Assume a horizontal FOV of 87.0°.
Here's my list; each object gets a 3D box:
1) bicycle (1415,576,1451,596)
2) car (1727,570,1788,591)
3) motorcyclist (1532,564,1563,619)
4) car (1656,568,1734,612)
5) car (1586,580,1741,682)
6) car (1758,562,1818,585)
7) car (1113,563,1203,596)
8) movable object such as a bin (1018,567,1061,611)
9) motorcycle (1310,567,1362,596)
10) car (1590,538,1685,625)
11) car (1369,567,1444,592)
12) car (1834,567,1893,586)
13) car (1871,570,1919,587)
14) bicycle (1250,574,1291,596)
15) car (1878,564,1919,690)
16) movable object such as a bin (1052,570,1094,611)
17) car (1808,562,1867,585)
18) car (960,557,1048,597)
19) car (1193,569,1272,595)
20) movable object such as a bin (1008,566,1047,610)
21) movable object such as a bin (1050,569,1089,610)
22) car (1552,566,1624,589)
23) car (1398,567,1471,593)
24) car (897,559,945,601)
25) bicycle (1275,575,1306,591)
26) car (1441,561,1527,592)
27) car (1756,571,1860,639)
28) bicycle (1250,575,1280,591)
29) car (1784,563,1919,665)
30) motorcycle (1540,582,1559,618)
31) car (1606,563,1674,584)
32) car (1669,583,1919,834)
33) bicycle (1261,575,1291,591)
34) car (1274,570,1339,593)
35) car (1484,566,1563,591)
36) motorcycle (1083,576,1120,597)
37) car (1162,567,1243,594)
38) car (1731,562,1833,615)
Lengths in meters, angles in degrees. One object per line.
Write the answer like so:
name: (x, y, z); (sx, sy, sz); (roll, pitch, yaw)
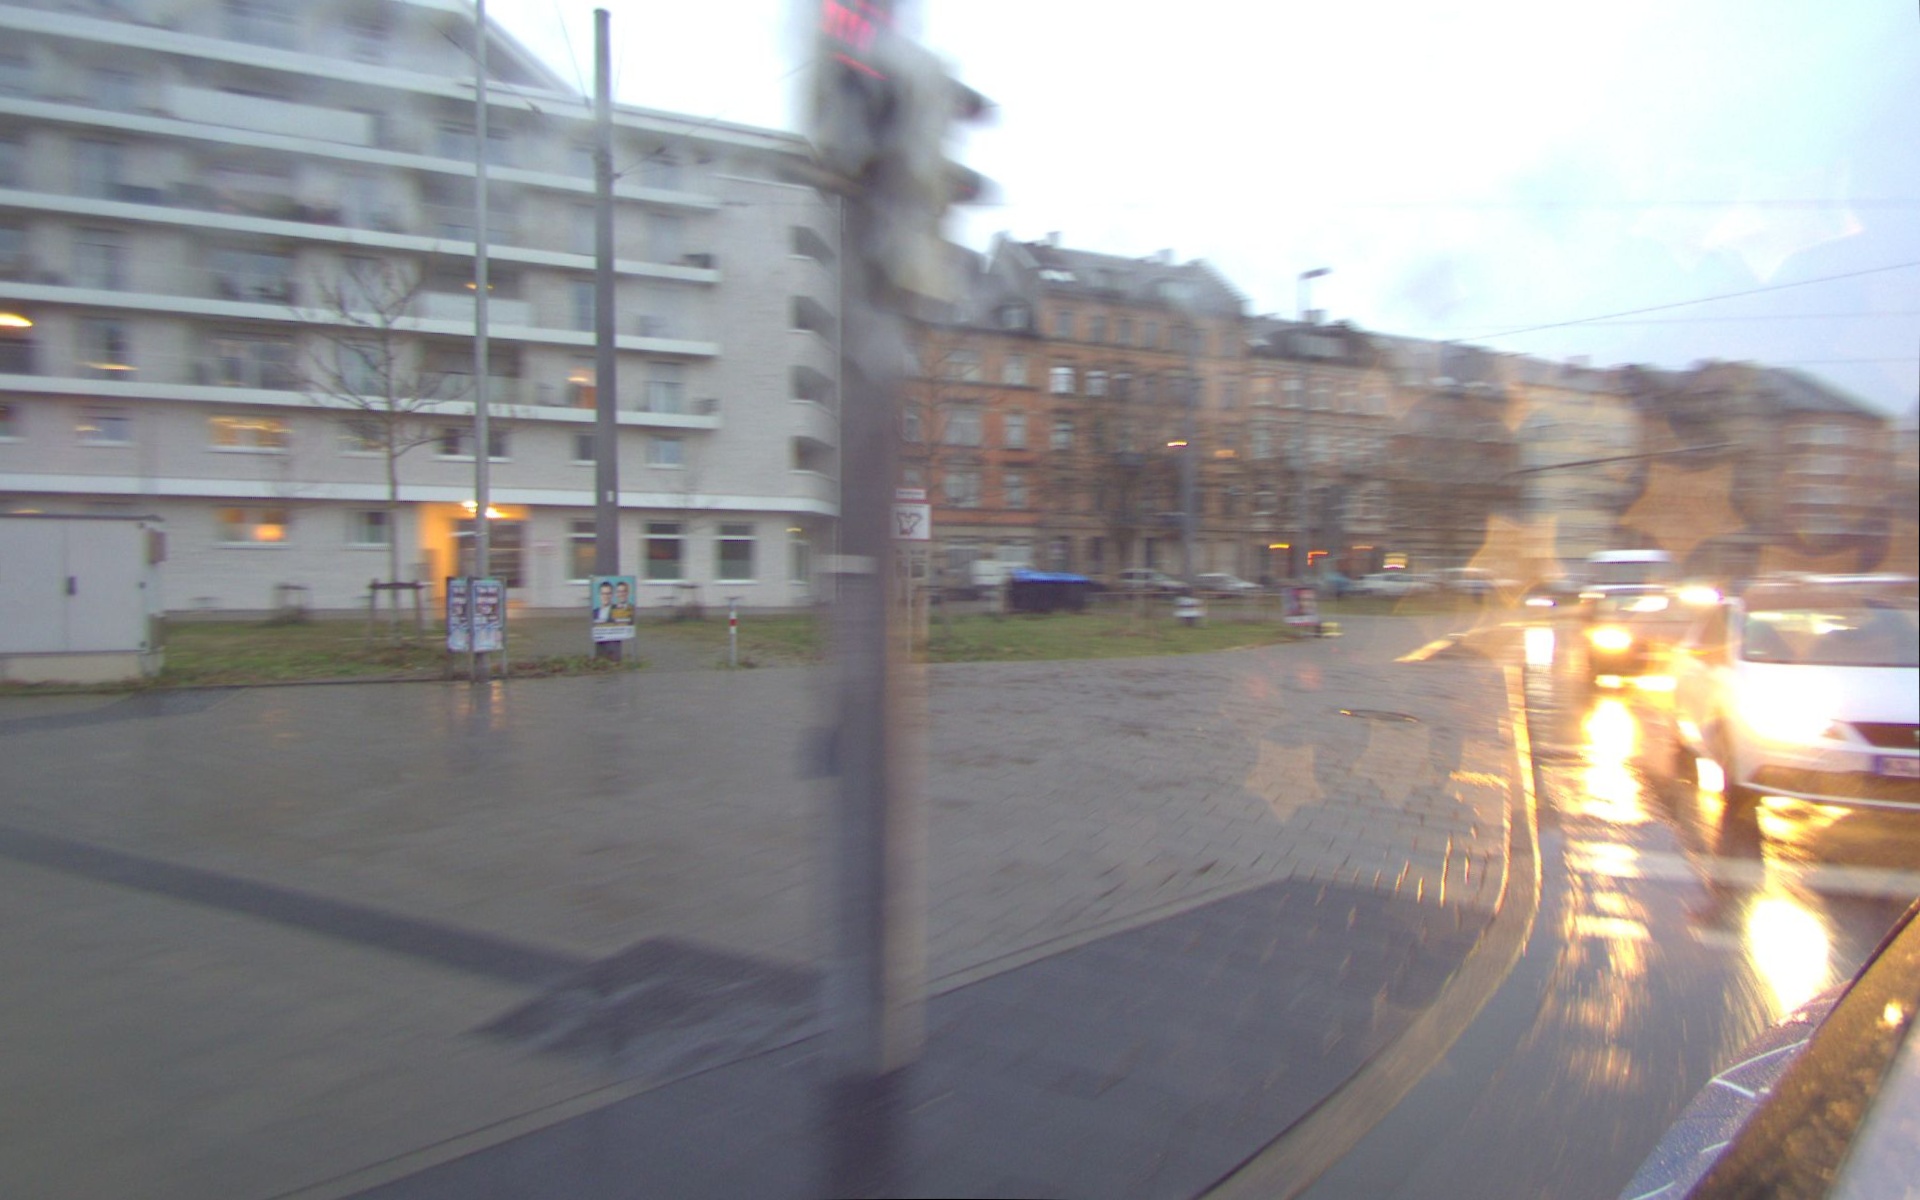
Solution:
bicycle: (24.443, -0.742, 52.339); (0.436, 0.942, 1.800); (0, 3, -24)
car: (56.073, -1.376, 71.182); (1.405, 1.446, 3.179); (-1, 2, -44)
motorcyclist: (20.574, -0.299, 35.458); (0.880, 1.905, 0.911); (1, 1, 34)
car: (30.579, -0.457, 42.064); (4.101, 1.709, 1.873); (-2, 1, -43)
car: (11.245, 0.414, 16.397); (1.710, 1.405, 3.782); (0, 1, 30)
car: (59.083, -1.888, 72.201); (1.405, 1.644, 3.179); (-1, 2, -44)
car: (9.967, -1.063, 50.980); (4.133, 1.589, 1.719); (1, 2, 37)
movable object such as a bin: (2.821, -0.396, 35.885); (1.226, 1.529, 1.055); (0, 1, -17)
motorcycle: (19.218, -0.961, 51.766); (0.869, 1.362, 2.358); (-2, 5, -38)
car: (21.369, -0.607, 31.807); (2.230, 2.493, 5.596); (0, 1, 36)
car: (25.667, -1.196, 58.222); (3.669, 1.417, 1.500); (1, 2, 39)
car: (67.049, -1.744, 75.140); (1.358, 1.431, 3.181); (-1, 2, -42)
car: (70.848, -1.627, 76.211); (1.358, 1.299, 3.181); (-1, 2, -42)
bicycle: (15.523, -0.759, 50.563); (1.870, 1.031, 0.537); (1, 2, -2)
car: (12.814, 0.354, 12.186); (1.812, 1.589, 4.313); (1, 2, 32)
movable object such as a bin: (4.059, -0.366, 36.468); (1.199, 1.450, 1.055); (0, 1, -17)
car: (64.284, -1.957, 74.148); (1.422, 1.644, 3.179); (-1, 2, -44)
car: (2.463, -1.315, 57.168); (4.565, 2.216, 2.004); (-1, 1, -25)
car: (14.341, -0.987, 53.287); (3.667, 1.322, 1.647); (1, 2, 37)
movable object such as a bin: (2.477, -0.468, 37.298); (1.116, 1.595, 1.055); (0, 1, -17)
movable object such as a bin: (4.088, -0.417, 37.684); (1.116, 1.504, 1.055); (0, 1, -17)
car: (39.302, -1.409, 63.369); (3.600, 1.387, 1.593); (1, 2, 42)
car: (27.937, -1.194, 59.664); (3.669, 1.454, 1.500); (1, 2, 39)
car: (-1.880, -1.006, 49.782); (1.908, 1.966, 4.595); (0, 2, 4)
bicycle: (18.597, -0.985, 56.977); (0.386, 0.827, 1.798); (0, 3, -31)
car: (31.189, -1.404, 60.273); (4.321, 1.790, 1.757); (1, 2, 38)
car: (19.637, 0.058, 23.545); (1.681, 1.448, 3.302); (0, 1, 38)
bicycle: (16.925, -0.957, 56.219); (0.437, 0.804, 1.799); (0, 3, -28)
car: (16.198, 0.172, 18.126); (1.664, 1.619, 4.176); (1, 2, 32)
motorcycle: (20.677, -0.014, 35.483); (0.480, 1.198, 2.381); (1, 1, 33)
car: (44.159, -1.725, 65.754); (3.592, 1.387, 1.597); (1, 2, 36)
car: (6.650, 0.608, 7.641); (1.774, 1.396, 4.177); (-1, 1, 31)
bicycle: (17.593, -0.952, 56.348); (0.437, 0.787, 1.799); (0, 3, -28)
car: (19.888, -1.072, 58.141); (3.284, 1.322, 1.500); (1, 2, 39)
car: (34.006, -1.333, 61.122); (3.950, 1.462, 1.675); (1, 2, 43)
motorcycle: (6.843, -0.648, 49.040); (1.786, 0.942, 0.506); (3, 3, 38)
car: (12.427, -1.005, 51.935); (3.667, 1.322, 1.719); (1, 2, 37)
car: (24.794, -0.346, 30.475); (4.101, 1.493, 1.873); (-1, 1, -43)
